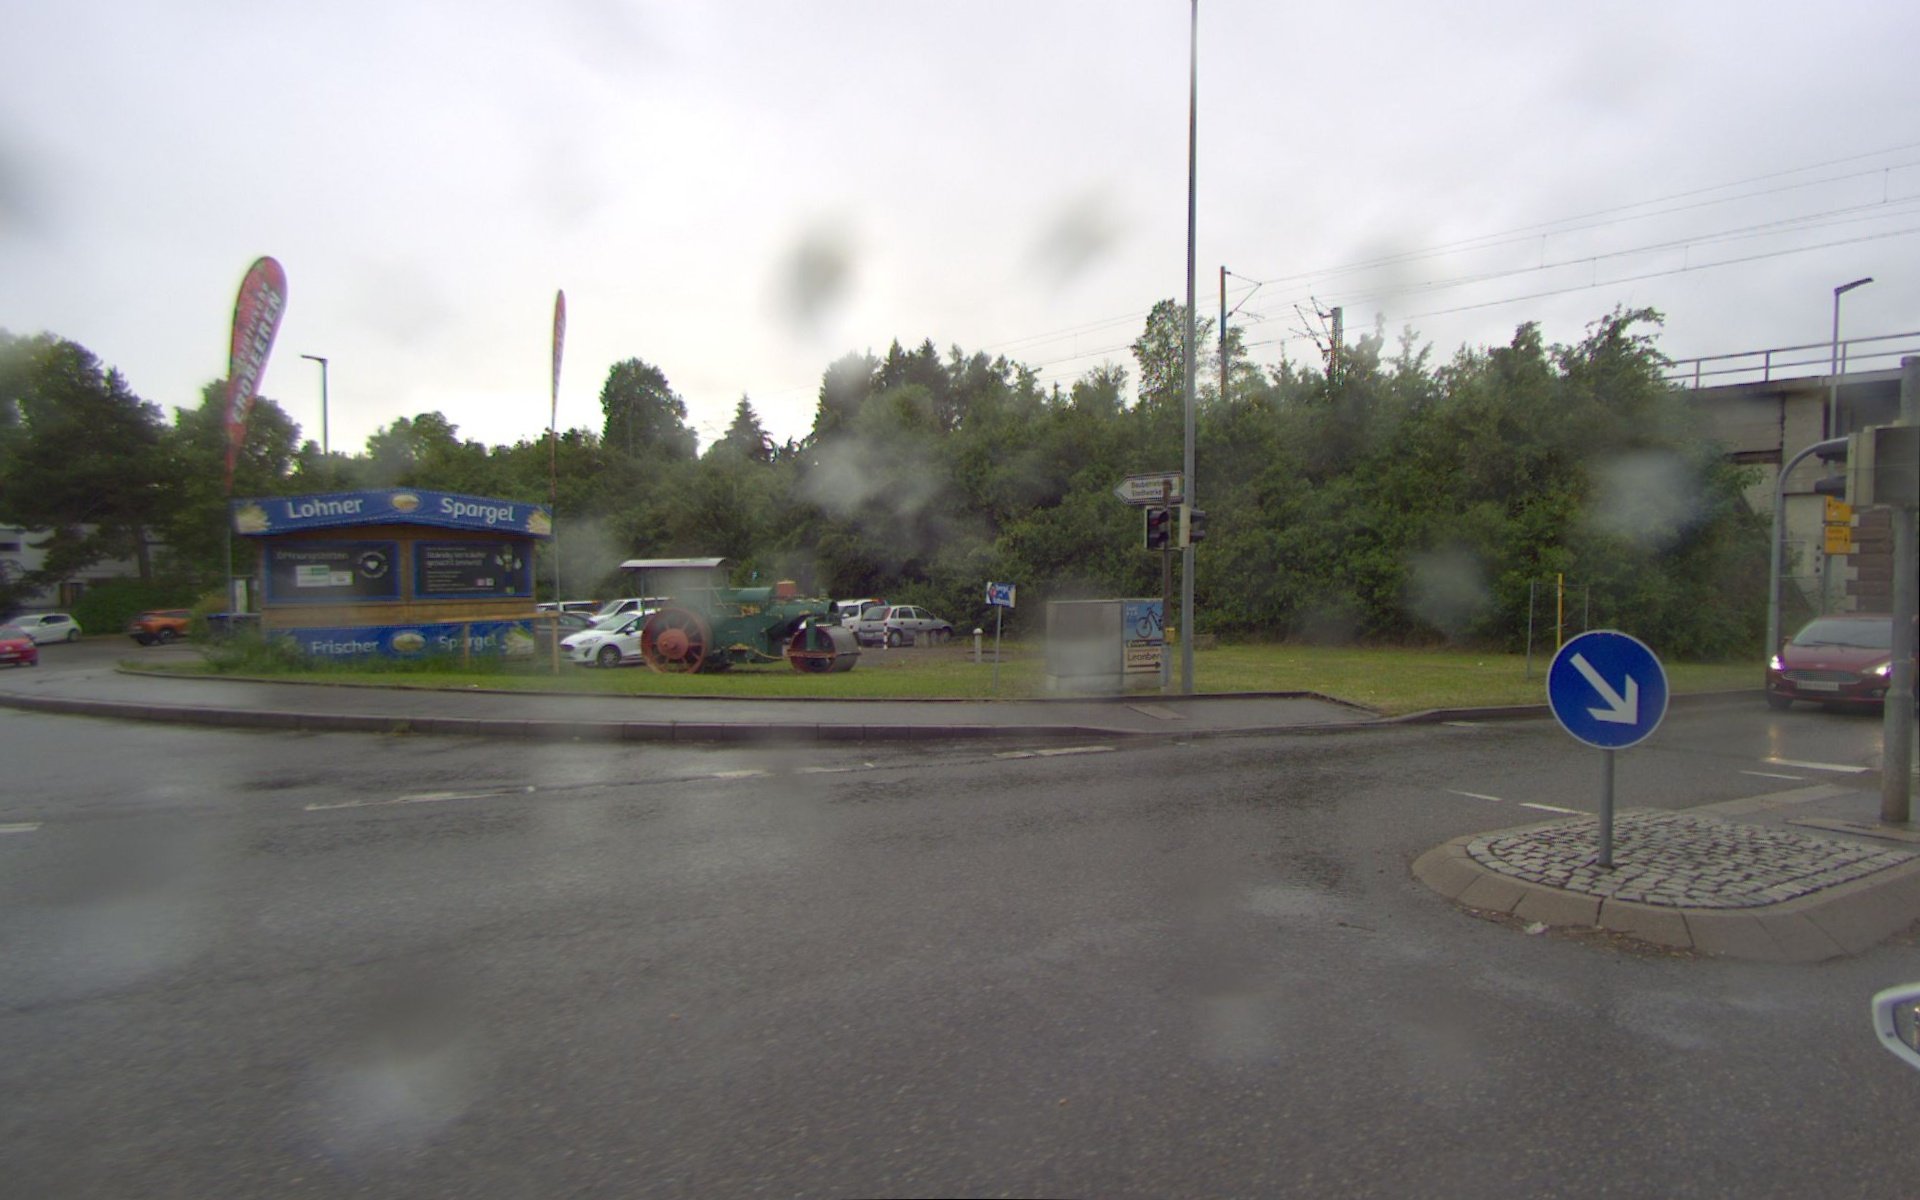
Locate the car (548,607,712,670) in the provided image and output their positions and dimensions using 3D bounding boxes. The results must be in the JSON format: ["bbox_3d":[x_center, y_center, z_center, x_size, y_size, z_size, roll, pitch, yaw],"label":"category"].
[{"bbox_3d":[-8.983,1.030,27.589,1.647,1.595,3.976,0,-1,44],"label":"car"}]

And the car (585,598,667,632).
[{"bbox_3d":[-15.901,0.711,47.945,1.427,1.560,3.461,0,-1,42],"label":"car"}]

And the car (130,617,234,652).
[{"bbox_3d":[-35.886,1.575,46.394,1.599,1.530,3.424,1,-1,28],"label":"car"}]

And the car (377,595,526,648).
[{"bbox_3d":[-18.010,0.763,35.695,4.361,1.789,1.896,2,-1,-45],"label":"car"}]

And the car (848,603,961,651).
[{"bbox_3d":[-1.900,0.946,35.376,1.750,1.589,3.801,0,-1,44],"label":"car"}]

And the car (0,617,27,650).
[{"bbox_3d":[-46.394,1.609,47.436,1.444,1.530,3.601,1,-1,-3],"label":"car"}]

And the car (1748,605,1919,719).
[{"bbox_3d":[15.634,0.999,17.459,4.637,1.737,1.884,1,-1,-36],"label":"car"}]

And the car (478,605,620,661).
[{"bbox_3d":[-12.534,0.988,30.765,3.687,1.595,1.571,2,-1,-45],"label":"car"}]

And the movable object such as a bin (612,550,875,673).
[{"bbox_3d":[-5.027,0.301,23.718,5.587,2.722,2.313,-1,-1,9],"label":"movable object such as a bin"}]

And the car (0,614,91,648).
[{"bbox_3d":[-43.711,1.445,47.879,1.539,1.530,3.601,1,-1,-3],"label":"car"}]

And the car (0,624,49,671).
[{"bbox_3d":[-34.230,1.672,36.145,3.548,1.530,1.644,0,-1,39],"label":"car"}]

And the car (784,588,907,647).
[{"bbox_3d":[-4.091,0.646,36.431,1.878,2.006,4.209,0,-1,44],"label":"car"}]

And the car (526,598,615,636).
[{"bbox_3d":[-19.875,0.876,51.399,1.669,1.904,3.944,0,-1,40],"label":"car"}]
